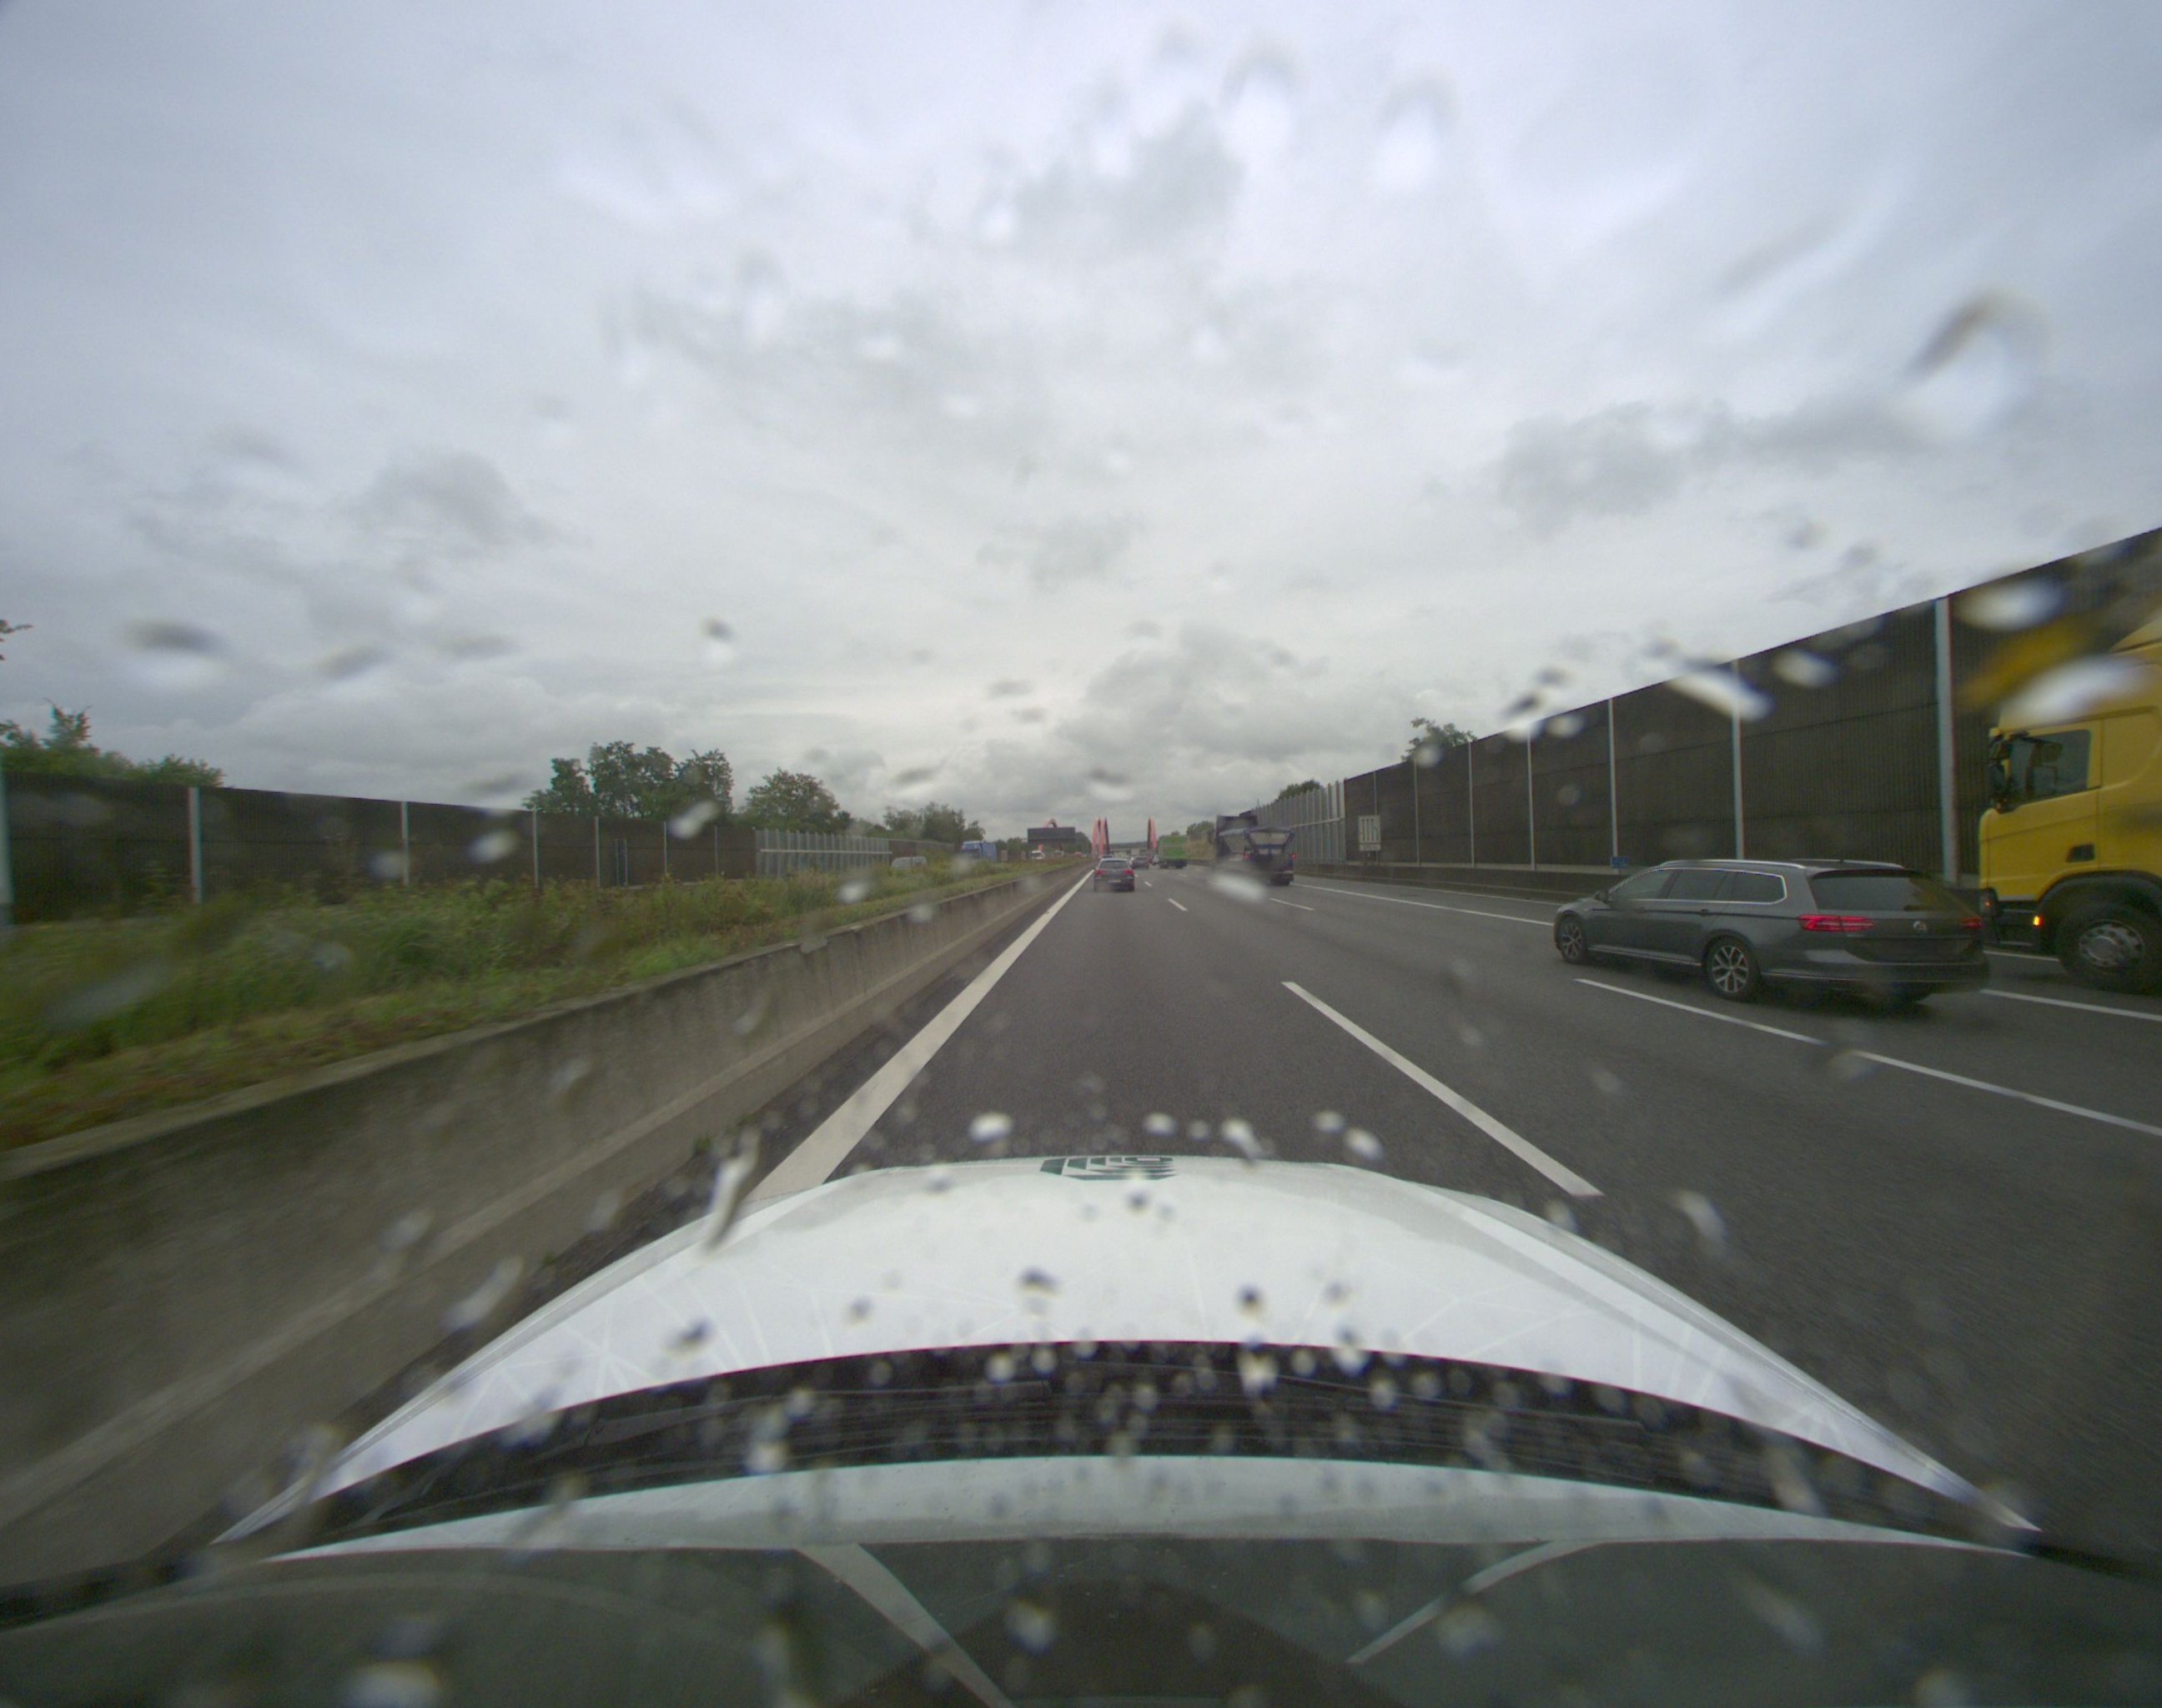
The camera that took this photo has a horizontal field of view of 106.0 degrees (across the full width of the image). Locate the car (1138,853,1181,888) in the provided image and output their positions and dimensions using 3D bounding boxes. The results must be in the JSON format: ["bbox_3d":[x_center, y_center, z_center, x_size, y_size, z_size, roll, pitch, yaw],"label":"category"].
[{"bbox_3d":[4.217,0.863,44.334,1.986,1.750,4.001,-2,0,1],"label":"car"}]

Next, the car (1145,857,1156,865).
[{"bbox_3d":[13.851,1.424,162.868,1.949,1.647,4.002,0,0,2],"label":"car"}]

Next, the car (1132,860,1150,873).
[{"bbox_3d":[6.542,1.366,88.676,1.775,1.406,3.628,0,0,2],"label":"car"}]

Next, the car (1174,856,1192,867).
[{"bbox_3d":[14.134,1.019,112.929,1.986,1.354,4.001,-2,0,1],"label":"car"}]

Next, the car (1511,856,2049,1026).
[{"bbox_3d":[7.433,0.759,9.677,1.933,1.427,5.289,0,0,1],"label":"car"}]

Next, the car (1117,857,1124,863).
[{"bbox_3d":[11.343,1.646,234.215,1.985,1.815,4.003,0,0,3],"label":"car"}]

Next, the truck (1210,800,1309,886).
[{"bbox_3d":[9.395,-0.485,44.620,3.077,3.950,12.953,-2,0,3],"label":"truck"}]

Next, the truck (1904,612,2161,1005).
[{"bbox_3d":[12.194,-0.473,6.132,2.676,3.958,9.326,0,0,1],"label":"truck"}]

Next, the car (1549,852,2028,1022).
[{"bbox_3d":[7.404,0.734,9.285,1.657,1.456,4.471,0,0,1],"label":"car"}]

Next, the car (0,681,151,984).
[{"bbox_3d":[-9.090,-0.156,2.965,2.365,2.193,7.727,-1,0,2],"label":"car"}]

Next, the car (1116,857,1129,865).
[{"bbox_3d":[6.967,1.130,136.274,1.986,1.354,4.001,-2,0,1],"label":"car"}]

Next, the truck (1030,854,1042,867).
[{"bbox_3d":[-11.102,1.614,202.403,2.613,3.019,5.611,0,0,-1],"label":"truck"}]

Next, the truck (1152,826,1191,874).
[{"bbox_3d":[10.541,-0.409,96.160,3.981,5.266,11.227,0,0,3],"label":"truck"}]

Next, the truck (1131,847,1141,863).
[{"bbox_3d":[16.464,0.357,243.860,3.032,4.734,7.685,0,-1,3],"label":"truck"}]

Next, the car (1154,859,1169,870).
[{"bbox_3d":[12.857,1.668,130.331,1.986,1.619,5.330,0,0,2],"label":"car"}]

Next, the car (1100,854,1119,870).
[{"bbox_3d":[3.132,0.857,88.846,1.986,1.585,4.001,-2,0,1],"label":"car"}]

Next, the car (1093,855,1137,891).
[{"bbox_3d":[1.491,0.795,35.236,1.756,1.453,4.003,0,0,3],"label":"car"}]

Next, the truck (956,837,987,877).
[{"bbox_3d":[-13.950,0.390,103.978,3.177,4.858,5.419,0,-1,1],"label":"truck"}]

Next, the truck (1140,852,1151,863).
[{"bbox_3d":[14.142,0.767,179.271,2.351,2.506,6.148,0,0,3],"label":"truck"}]
